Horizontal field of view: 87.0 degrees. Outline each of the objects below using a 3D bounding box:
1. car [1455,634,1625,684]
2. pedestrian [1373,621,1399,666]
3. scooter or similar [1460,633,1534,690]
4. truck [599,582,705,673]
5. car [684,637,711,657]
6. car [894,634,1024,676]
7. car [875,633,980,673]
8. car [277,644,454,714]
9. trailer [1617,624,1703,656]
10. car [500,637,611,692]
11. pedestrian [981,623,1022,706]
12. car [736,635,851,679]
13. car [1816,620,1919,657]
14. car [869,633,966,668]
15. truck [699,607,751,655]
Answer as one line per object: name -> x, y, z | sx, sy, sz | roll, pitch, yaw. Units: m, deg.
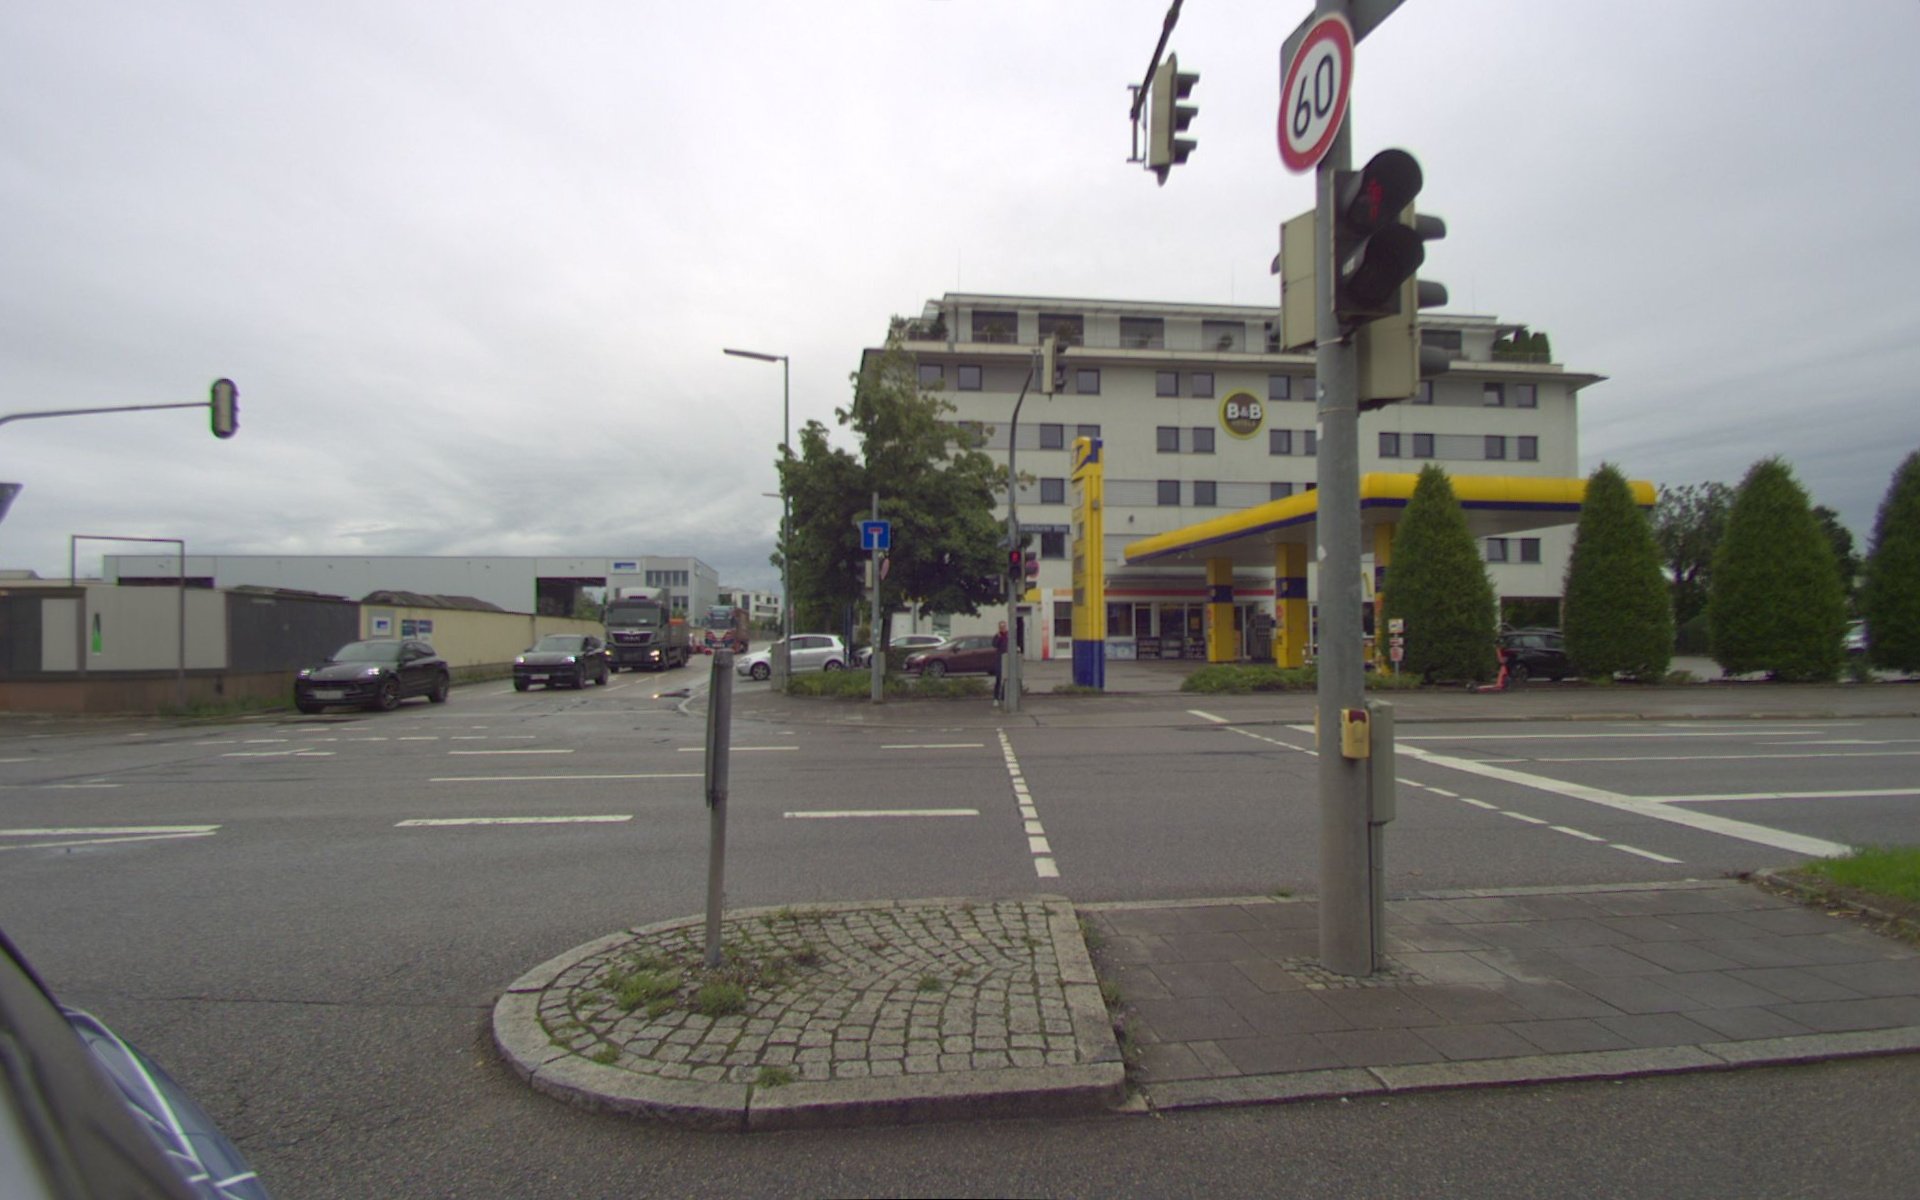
car -> 16.649, 1.690, 29.144 | 3.936, 1.342, 1.804 | 0, -3, -9
pedestrian -> 16.948, 1.739, 40.272 | 0.633, 1.742, 0.710 | 0, -4, -12
scooter or similar -> 12.199, 1.399, 22.999 | 1.522, 1.252, 0.357 | 0, 0, -3
truck -> -14.702, 1.365, 49.321 | 2.570, 3.885, 11.950 | 0, -2, -5
car -> -24.119, 4.328, 93.026 | 1.844, 1.719, 4.109 | 0, -3, -7
car -> -0.057, 1.947, 35.877 | 4.288, 1.395, 1.709 | 1, -4, -18
car -> -1.275, 2.057, 39.115 | 3.916, 1.497, 1.630 | 0, -3, -6
car -> -13.889, 1.795, 23.973 | 1.969, 1.439, 4.269 | 0, -2, -5
trailer -> 38.471, 2.222, 55.736 | 1.609, 1.663, 3.817 | 0, -3, -9
car -> -12.500, 1.961, 31.606 | 1.969, 1.544, 4.638 | 0, -2, -5
pedestrian -> 0.830, 1.299, 20.542 | 0.676, 1.627, 0.806 | 0, 0, -9
car -> -5.878, 2.014, 35.821 | 3.914, 1.497, 1.632 | 0, -4, -9
car -> 37.295, 1.555, 40.919 | 3.936, 1.450, 1.834 | 0, -3, -8
car -> -1.937, 2.267, 45.075 | 4.126, 1.489, 1.912 | 0, -3, -8
truck -> -20.123, 2.693, 87.351 | 2.835, 3.861, 11.950 | 0, -2, -5
